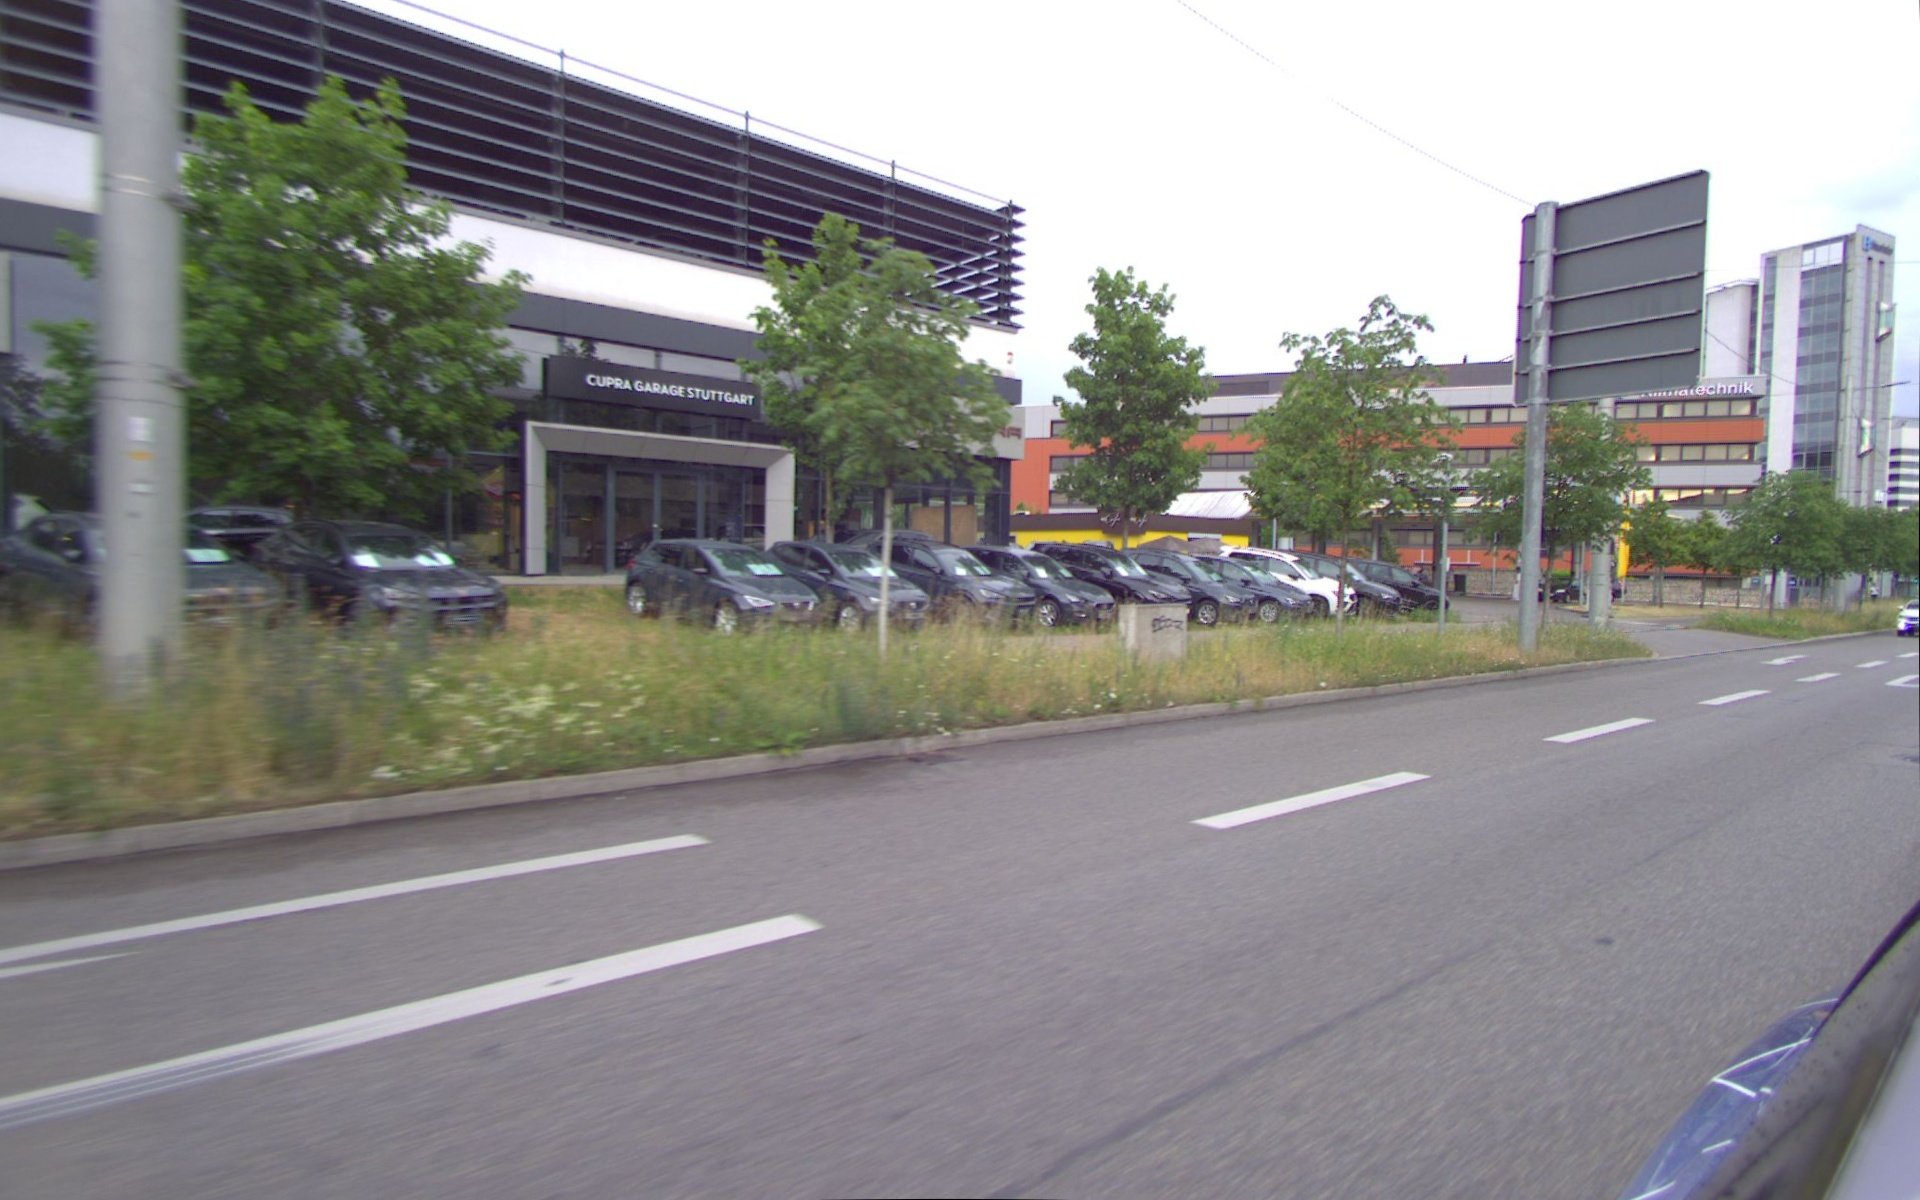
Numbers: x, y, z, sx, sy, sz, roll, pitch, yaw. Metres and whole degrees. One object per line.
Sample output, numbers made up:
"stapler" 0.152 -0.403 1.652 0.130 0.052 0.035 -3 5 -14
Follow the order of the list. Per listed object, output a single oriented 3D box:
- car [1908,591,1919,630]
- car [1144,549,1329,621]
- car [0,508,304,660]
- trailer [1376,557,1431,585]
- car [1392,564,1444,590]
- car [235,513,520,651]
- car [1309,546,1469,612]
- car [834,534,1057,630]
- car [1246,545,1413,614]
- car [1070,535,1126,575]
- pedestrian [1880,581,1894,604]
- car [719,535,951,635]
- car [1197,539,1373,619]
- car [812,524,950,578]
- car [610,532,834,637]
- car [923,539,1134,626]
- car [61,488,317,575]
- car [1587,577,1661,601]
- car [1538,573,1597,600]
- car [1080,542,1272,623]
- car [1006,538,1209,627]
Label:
"car" 38.831 0.428 39.701 3.767 1.513 1.878 0 2 -39
"car" 7.479 -0.457 27.595 4.476 1.657 1.797 5 4 37
"car" -10.129 -0.297 12.530 4.121 1.552 1.774 4 3 31
"trailer" 36.216 -2.378 82.736 3.957 2.173 1.825 3 2 24
"car" 33.316 -1.664 73.629 3.931 1.668 1.903 -1 6 -42
"car" -8.113 -0.333 14.007 4.026 1.595 1.714 4 3 31
"car" 14.028 -0.716 33.277 4.307 1.838 1.880 3 3 0
"car" -0.385 -0.449 20.914 4.480 1.683 1.796 5 4 39
"car" 11.204 -0.663 30.801 4.367 1.811 1.854 5 4 37
"car" 6.260 -1.992 45.557 1.820 1.664 4.292 2 1 17
"pedestrian" 78.698 -0.611 85.922 0.676 1.925 0.672 -1 0 27
"car" -2.463 -0.358 19.242 4.480 1.588 1.796 5 4 39
"car" 9.329 -0.649 29.214 4.469 2.015 1.800 4 3 33
"car" -2.342 -1.441 30.444 3.831 1.491 1.783 0 2 -41
"car" -4.201 -0.335 17.513 4.039 1.519 1.663 5 4 39
"car" 1.432 -0.453 22.428 4.484 1.638 1.794 5 4 42
"car" -14.877 -1.266 19.664 3.831 1.491 1.669 0 2 -41
"car" 48.263 -0.818 73.666 4.323 1.667 1.775 0 0 30
"car" 35.148 -0.791 58.517 3.715 1.436 1.784 0 3 -40
"car" 5.491 -0.504 26.041 4.478 1.773 1.797 5 4 38
"car" 3.454 -0.488 24.240 4.478 1.817 1.797 5 4 38
